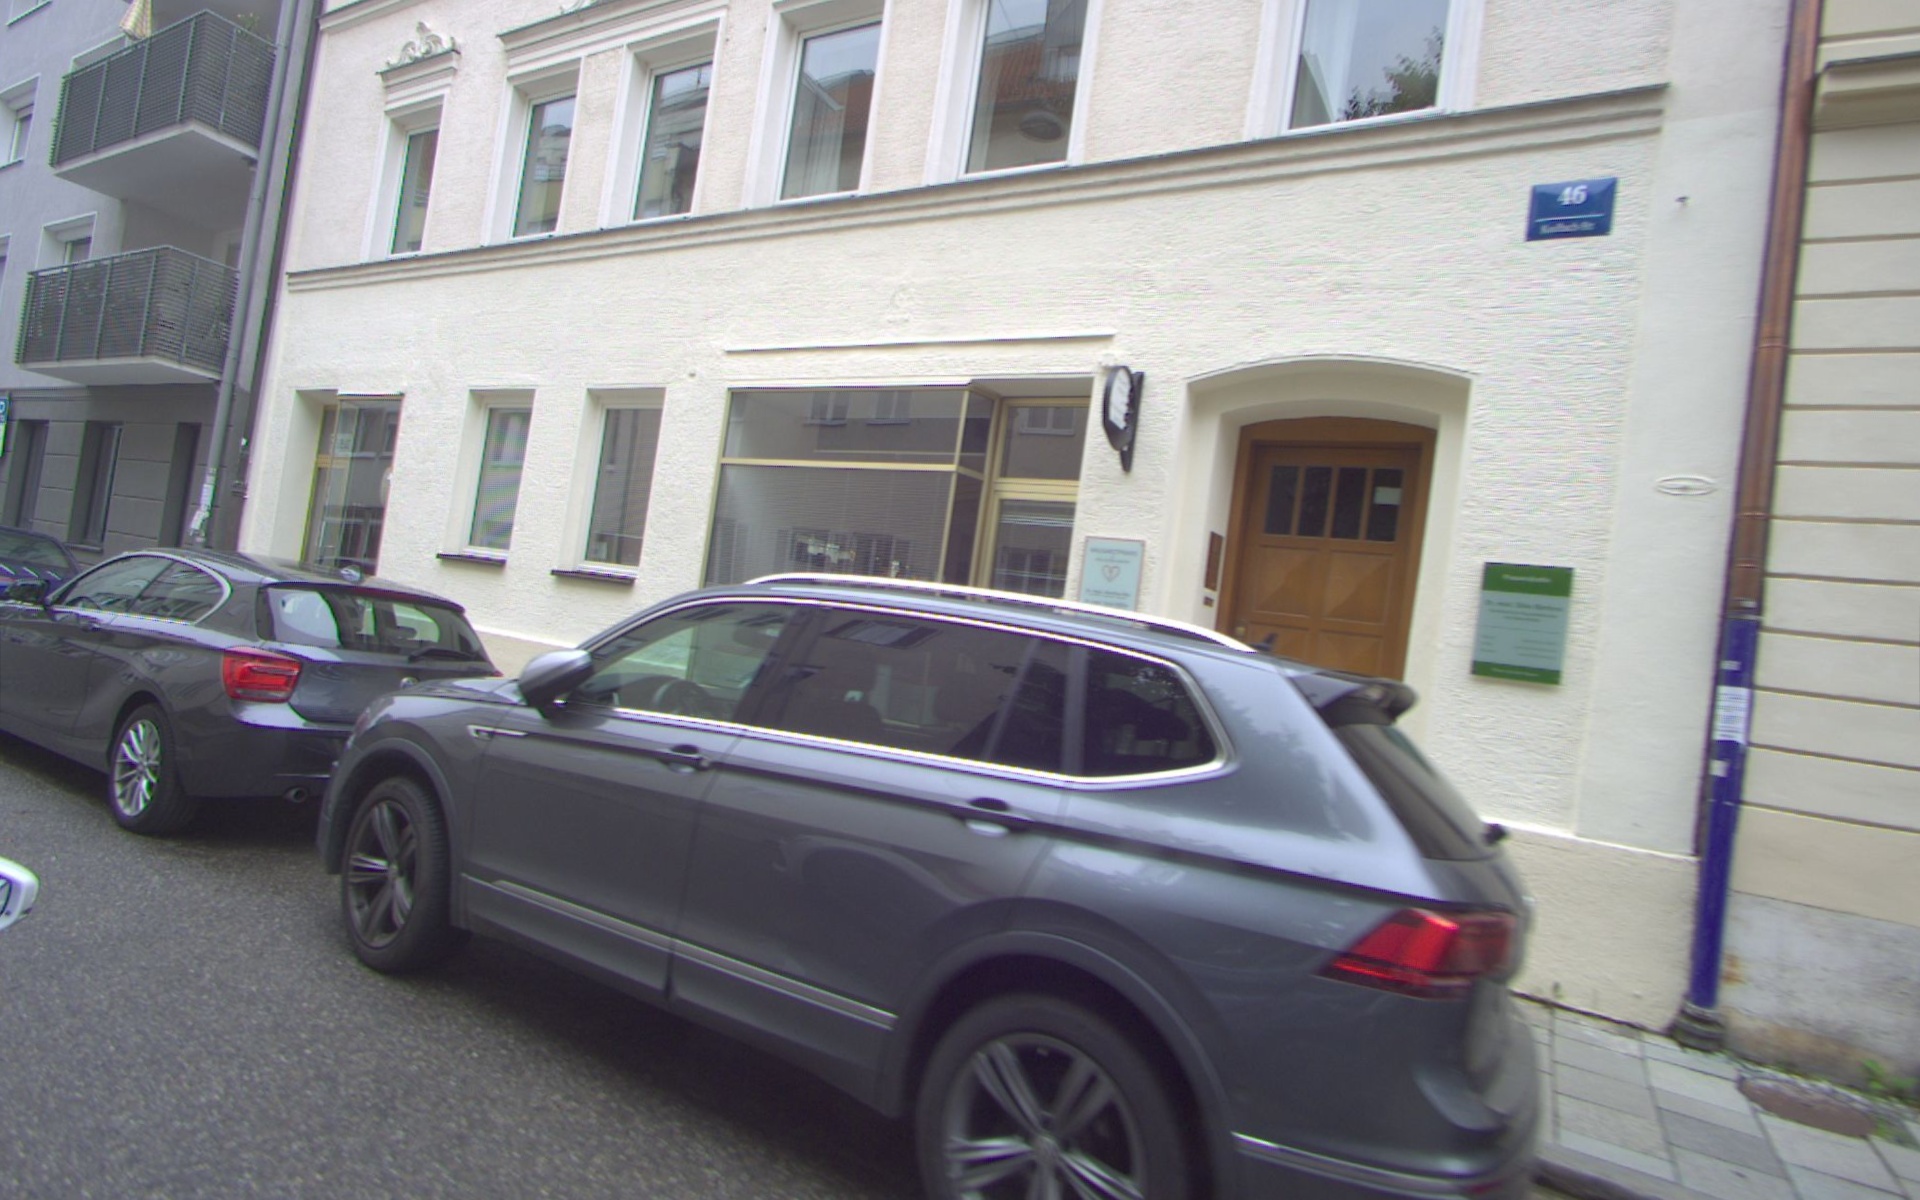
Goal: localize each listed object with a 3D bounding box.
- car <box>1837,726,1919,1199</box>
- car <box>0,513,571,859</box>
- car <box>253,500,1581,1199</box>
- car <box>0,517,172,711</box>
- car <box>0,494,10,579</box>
[{"bbox_3d":[3.970,1.278,0.807,4.606,1.625,1.706,7,-3,31],"label":"car"},{"bbox_3d":[-4.709,0.348,6.389,4.276,1.401,1.804,7,-2,31],"label":"car"},{"bbox_3d":[-0.455,0.741,3.677,4.437,1.679,1.680,7,-3,31],"label":"car"},{"bbox_3d":[-8.635,-0.059,8.484,3.880,1.379,1.811,6,-2,32],"label":"car"},{"bbox_3d":[-12.656,-0.631,11.118,4.243,1.589,1.880,7,-1,30],"label":"car"}]
